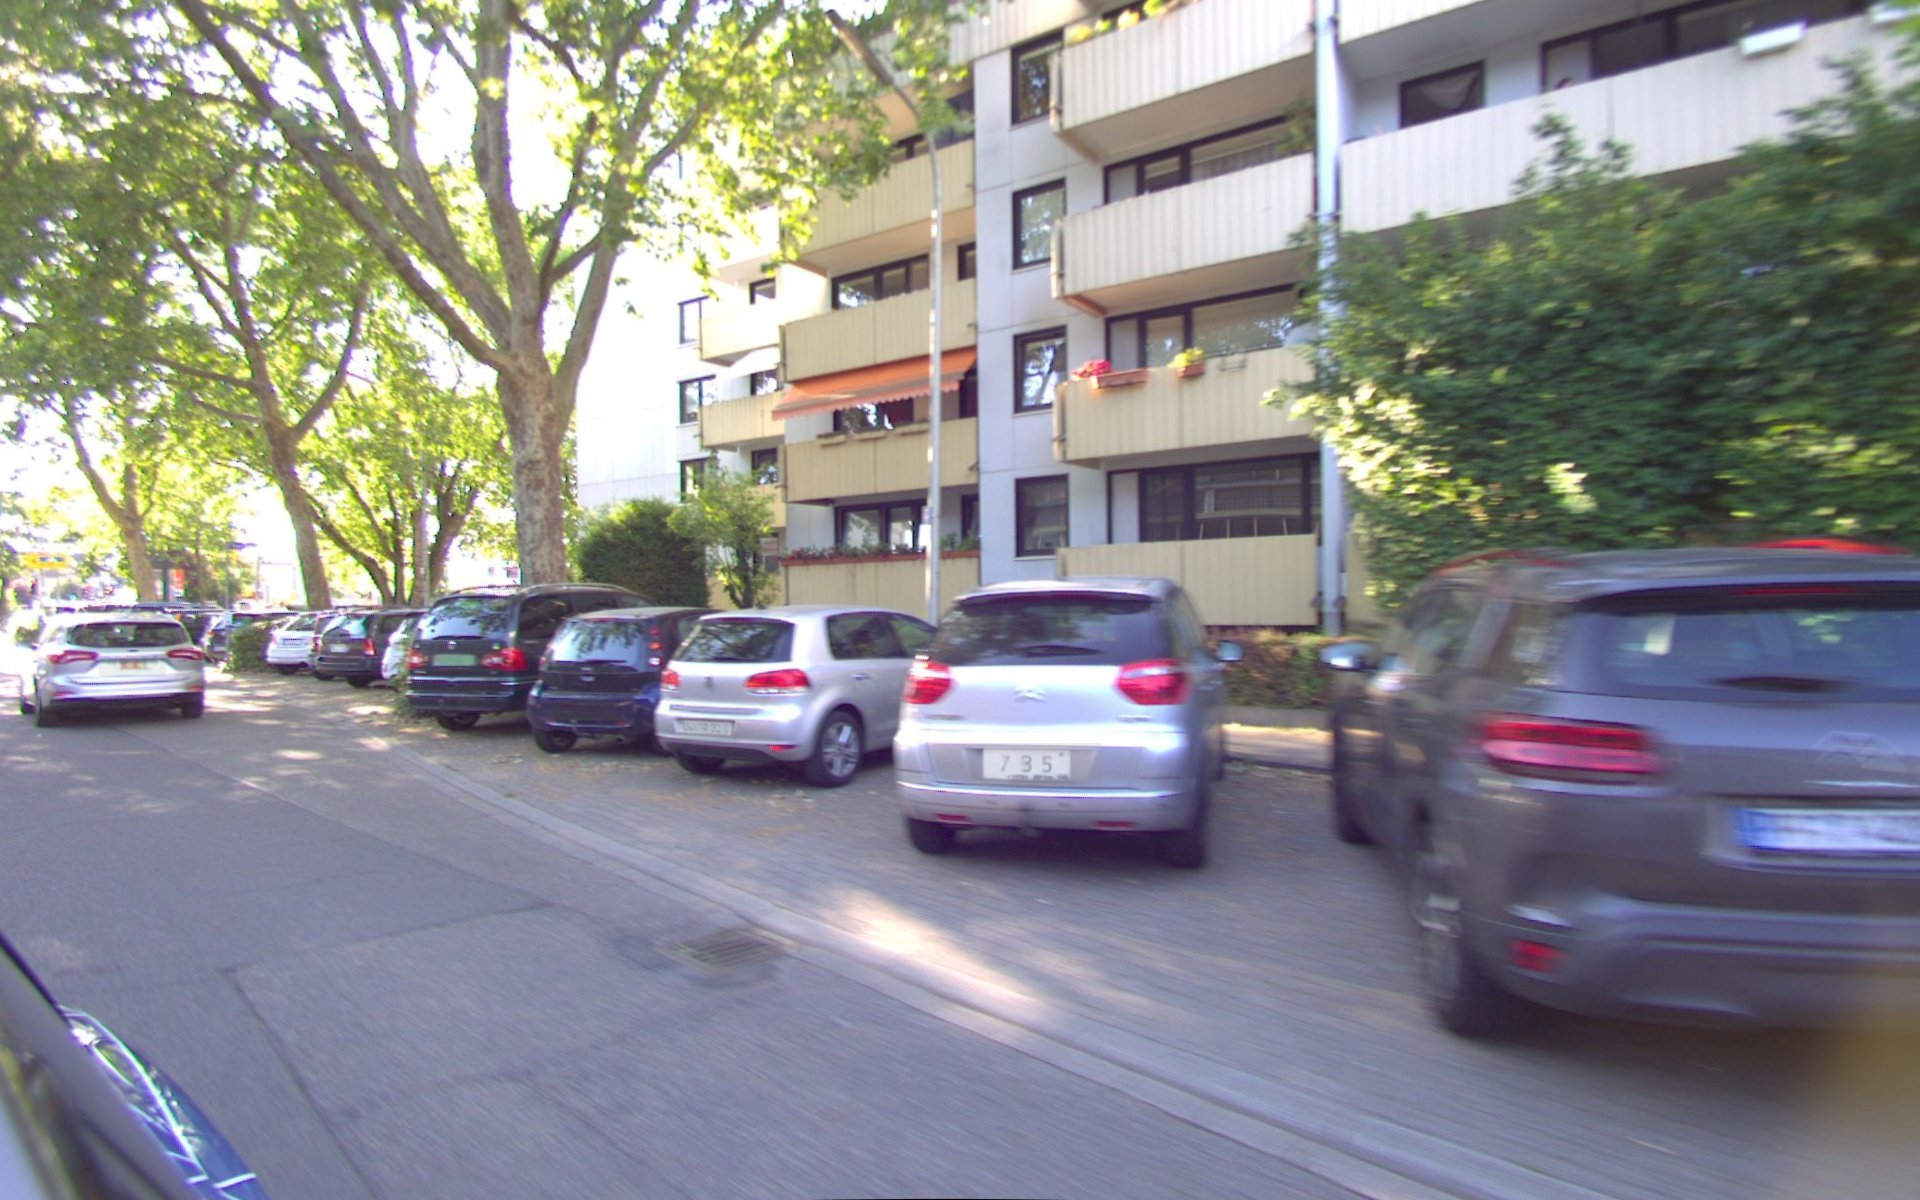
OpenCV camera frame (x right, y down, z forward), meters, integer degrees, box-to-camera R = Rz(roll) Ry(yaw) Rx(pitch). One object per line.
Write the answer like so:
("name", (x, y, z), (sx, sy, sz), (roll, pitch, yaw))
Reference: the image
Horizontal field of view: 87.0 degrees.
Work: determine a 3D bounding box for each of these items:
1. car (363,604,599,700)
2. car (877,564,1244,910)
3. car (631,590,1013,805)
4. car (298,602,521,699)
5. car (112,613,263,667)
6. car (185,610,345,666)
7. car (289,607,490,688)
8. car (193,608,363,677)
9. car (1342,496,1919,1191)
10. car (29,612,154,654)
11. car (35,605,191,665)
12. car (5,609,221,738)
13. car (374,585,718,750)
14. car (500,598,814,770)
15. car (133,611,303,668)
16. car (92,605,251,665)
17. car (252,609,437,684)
("car", (-8.589, 0.881, 18.472), (1.765, 1.505, 3.633), (-2, 0, 23))
("car", (1.009, 0.644, 7.067), (1.762, 1.652, 4.116), (-1, 0, 17))
("car", (-1.080, 0.719, 9.493), (1.693, 1.572, 3.613), (-1, 0, 30))
("car", (-10.671, 0.902, 19.895), (1.640, 1.674, 3.622), (-1, 0, 23))
("car", (-25.064, 1.243, 32.965), (1.640, 1.572, 3.572), (-1, 0, 23))
("car", (-20.711, 1.088, 30.318), (1.693, 1.472, 3.625), (-1, 0, 20))
("car", (-12.498, 0.975, 22.404), (1.640, 1.572, 3.622), (-1, 0, 23))
("car", (-18.382, 1.103, 27.469), (1.635, 1.674, 3.632), (-1, 0, 15))
("car", (2.811, 0.567, 4.342), (1.683, 1.675, 3.943), (-1, 0, 14))
("car", (-37.212, 1.384, 43.508), (1.696, 1.654, 3.992), (-1, 0, 7))
("car", (-29.785, 1.184, 35.759), (1.701, 1.900, 3.981), (-1, 0, 15))
("car", (-12.153, 0.943, 14.401), (4.623, 1.548, 1.878), (-1, -3, 45))
("car", (-5.145, 0.724, 13.288), (1.891, 1.788, 4.244), (-1, 0, 18))
("car", (-3.175, 0.787, 11.377), (1.685, 1.572, 3.631), (-1, 0, 16))
("car", (-23.100, 1.174, 31.660), (1.789, 1.637, 3.964), (-1, -1, 27))
("car", (-27.120, 1.147, 34.947), (1.823, 1.896, 3.966), (-1, 0, 25))
("car", (-14.568, 1.043, 24.191), (1.693, 1.572, 3.633), (-1, 0, 14))
